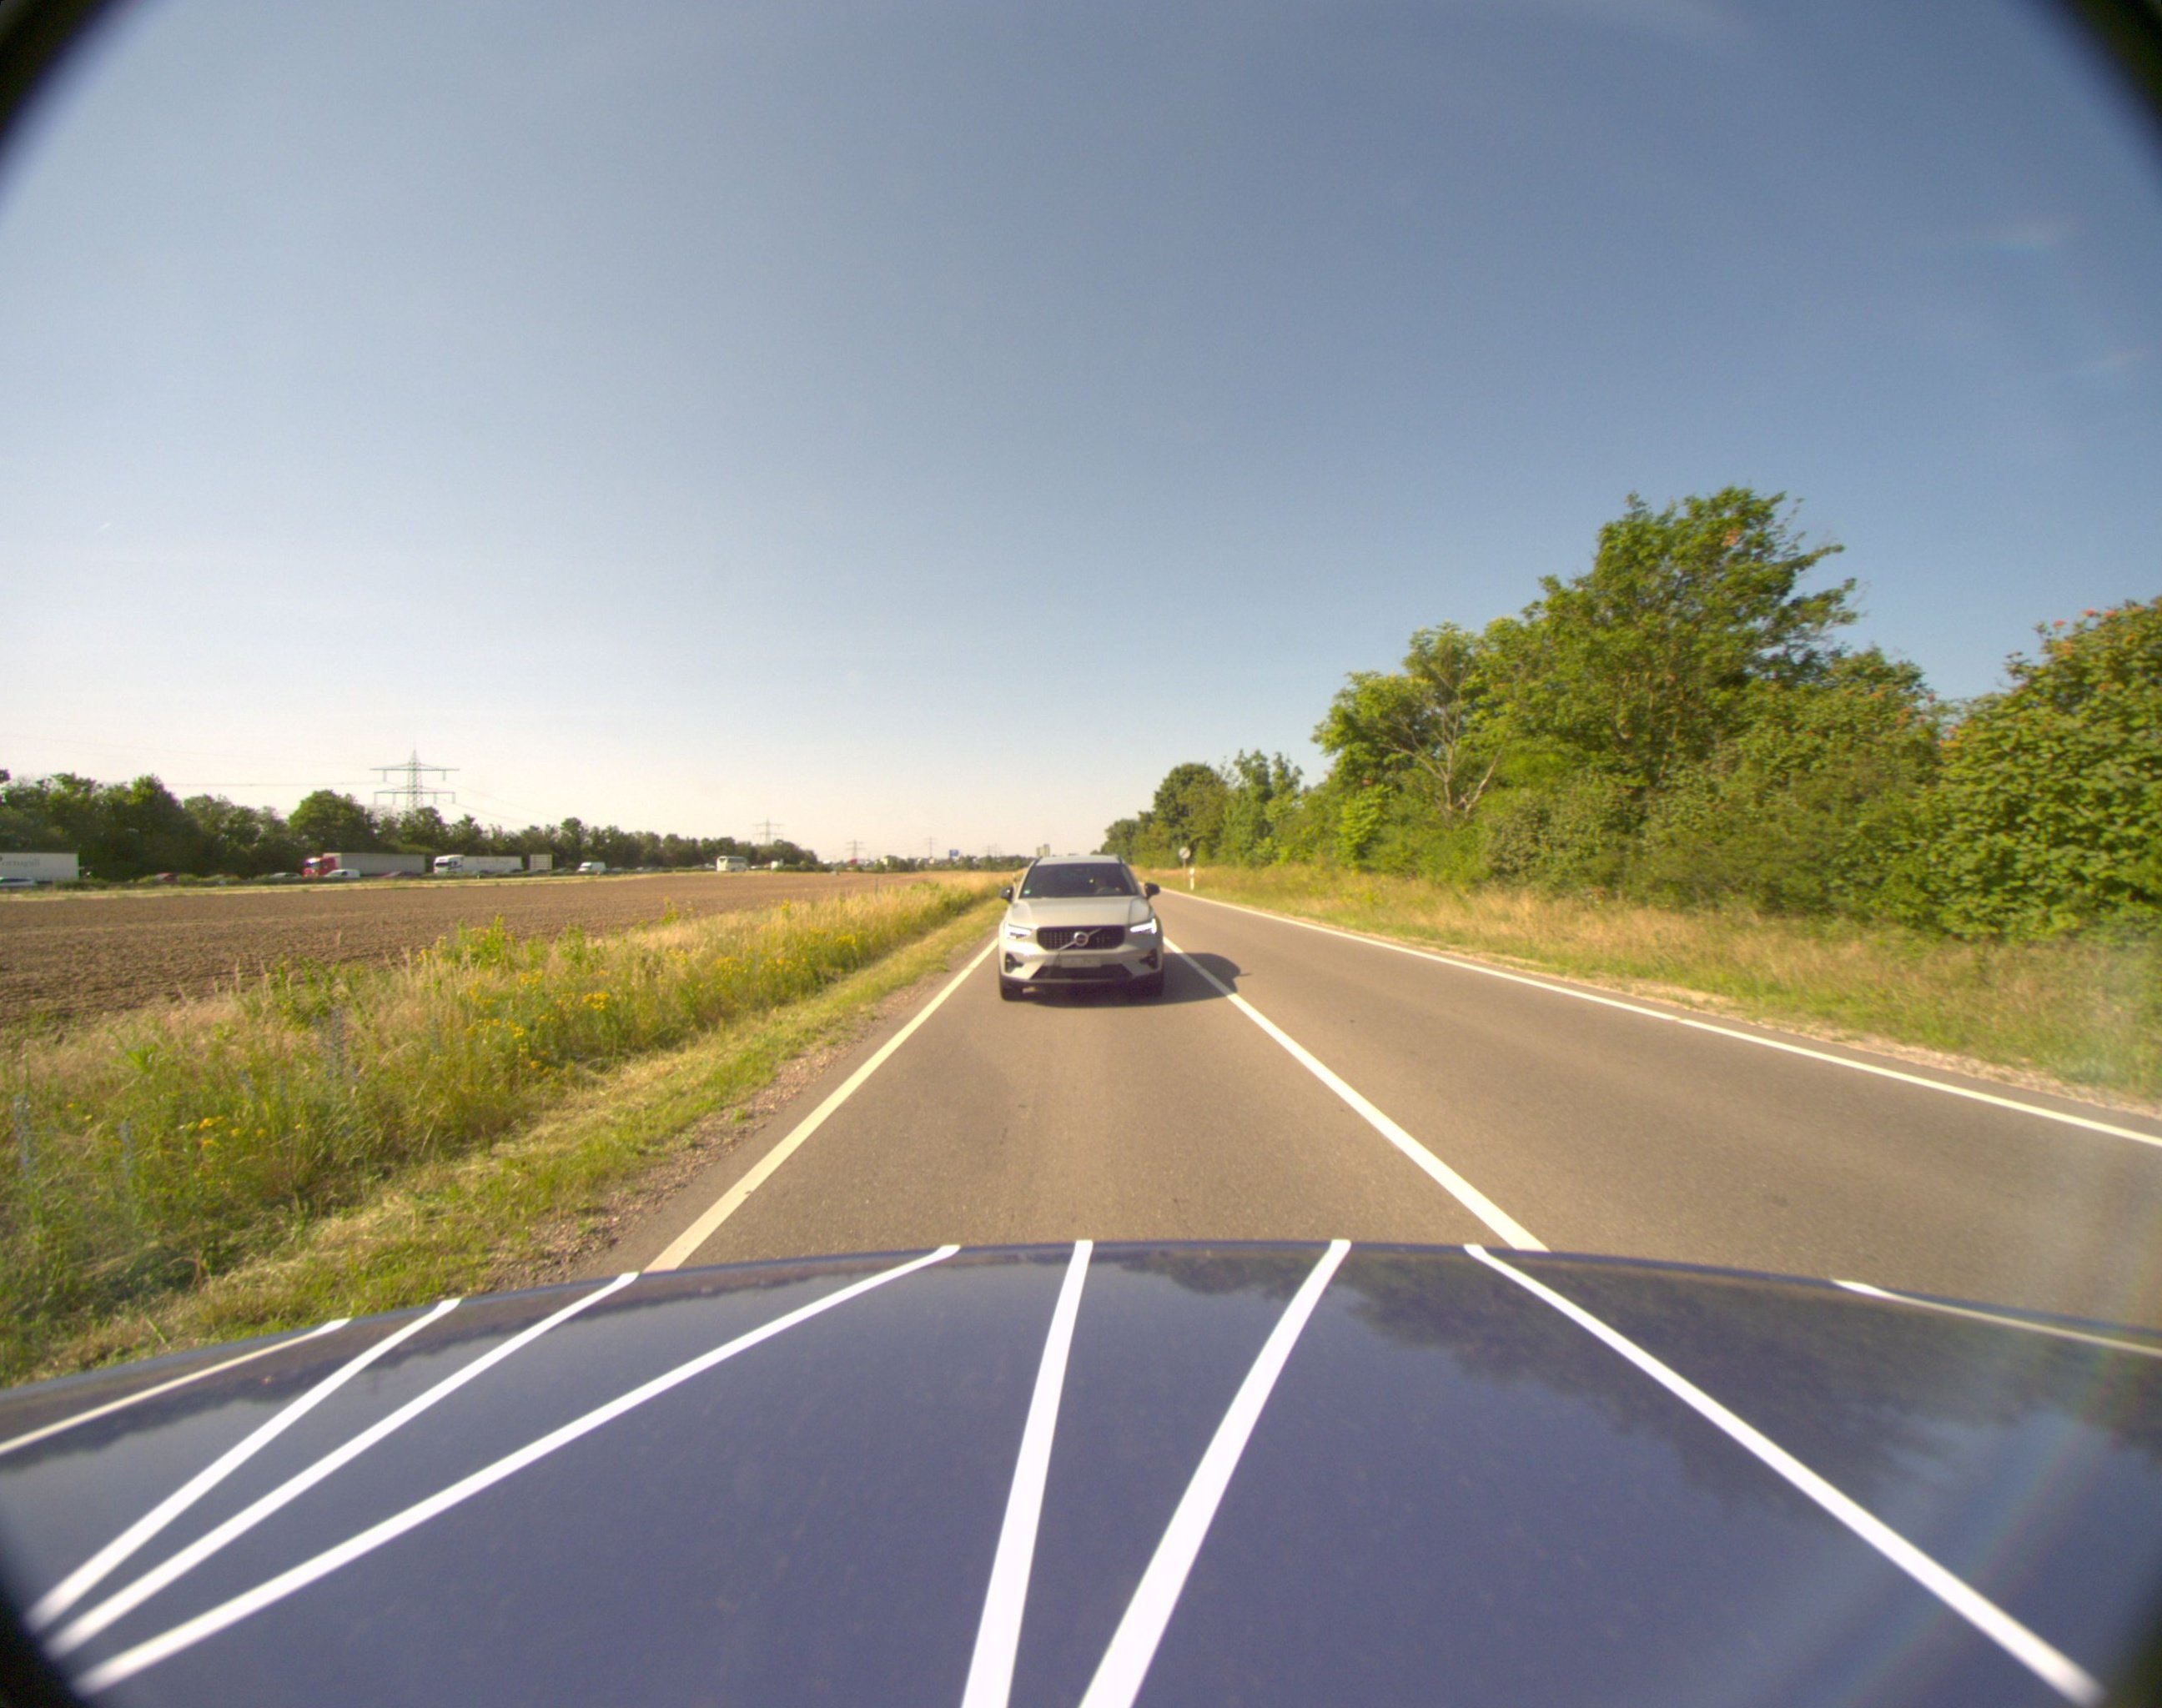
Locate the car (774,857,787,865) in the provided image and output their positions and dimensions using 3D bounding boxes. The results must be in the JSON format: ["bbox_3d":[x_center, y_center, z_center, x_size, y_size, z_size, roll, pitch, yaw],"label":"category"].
[{"bbox_3d":[-91.036,2.193,230.229,1.999,2.358,5.521,-2,0,-1],"label":"car"}]

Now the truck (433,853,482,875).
[{"bbox_3d":[-103.764,1.622,126.573,3.211,3.510,6.108,0,0,-2],"label":"truck"}]

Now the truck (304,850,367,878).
[{"bbox_3d":[-103.741,1.410,105.898,2.953,3.711,5.869,-1,0,-1],"label":"truck"}]

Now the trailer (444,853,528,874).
[{"bbox_3d":[-103.970,1.665,133.216,3.211,3.510,15.081,0,0,-2],"label":"trailer"}]

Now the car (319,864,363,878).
[{"bbox_3d":[-97.243,2.221,99.917,1.707,1.629,4.093,-2,0,-2],"label":"car"}]

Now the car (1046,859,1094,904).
[{"bbox_3d":[-0.473,1.071,31.008,1.790,1.664,4.000,-1,-1,-1],"label":"car"}]

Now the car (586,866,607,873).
[{"bbox_3d":[-89.898,2.805,140.965,1.550,1.227,3.619,-4,-1,-1],"label":"car"}]

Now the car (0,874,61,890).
[{"bbox_3d":[-97.257,2.550,69.622,1.855,1.377,4.248,-2,-1,-1],"label":"car"}]

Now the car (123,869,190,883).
[{"bbox_3d":[-97.574,2.322,80.286,1.855,1.377,4.248,-2,-1,-1],"label":"car"}]

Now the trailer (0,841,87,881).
[{"bbox_3d":[-102.894,0.687,70.751,3.079,3.711,13.366,-1,0,0],"label":"trailer"}]

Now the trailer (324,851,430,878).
[{"bbox_3d":[-103.858,1.452,112.607,2.953,3.711,13.781,-1,0,-1],"label":"trailer"}]

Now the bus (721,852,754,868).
[{"bbox_3d":[-89.909,1.616,199.243,2.469,3.780,14.546,-1,-1,-2],"label":"bus"}]

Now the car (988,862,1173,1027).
[{"bbox_3d":[-0.014,0.946,9.831,1.840,1.627,4.135,-2,0,0],"label":"car"}]

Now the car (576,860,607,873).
[{"bbox_3d":[-99.301,2.568,154.180,2.042,2.432,6.413,-2,0,0],"label":"car"}]
